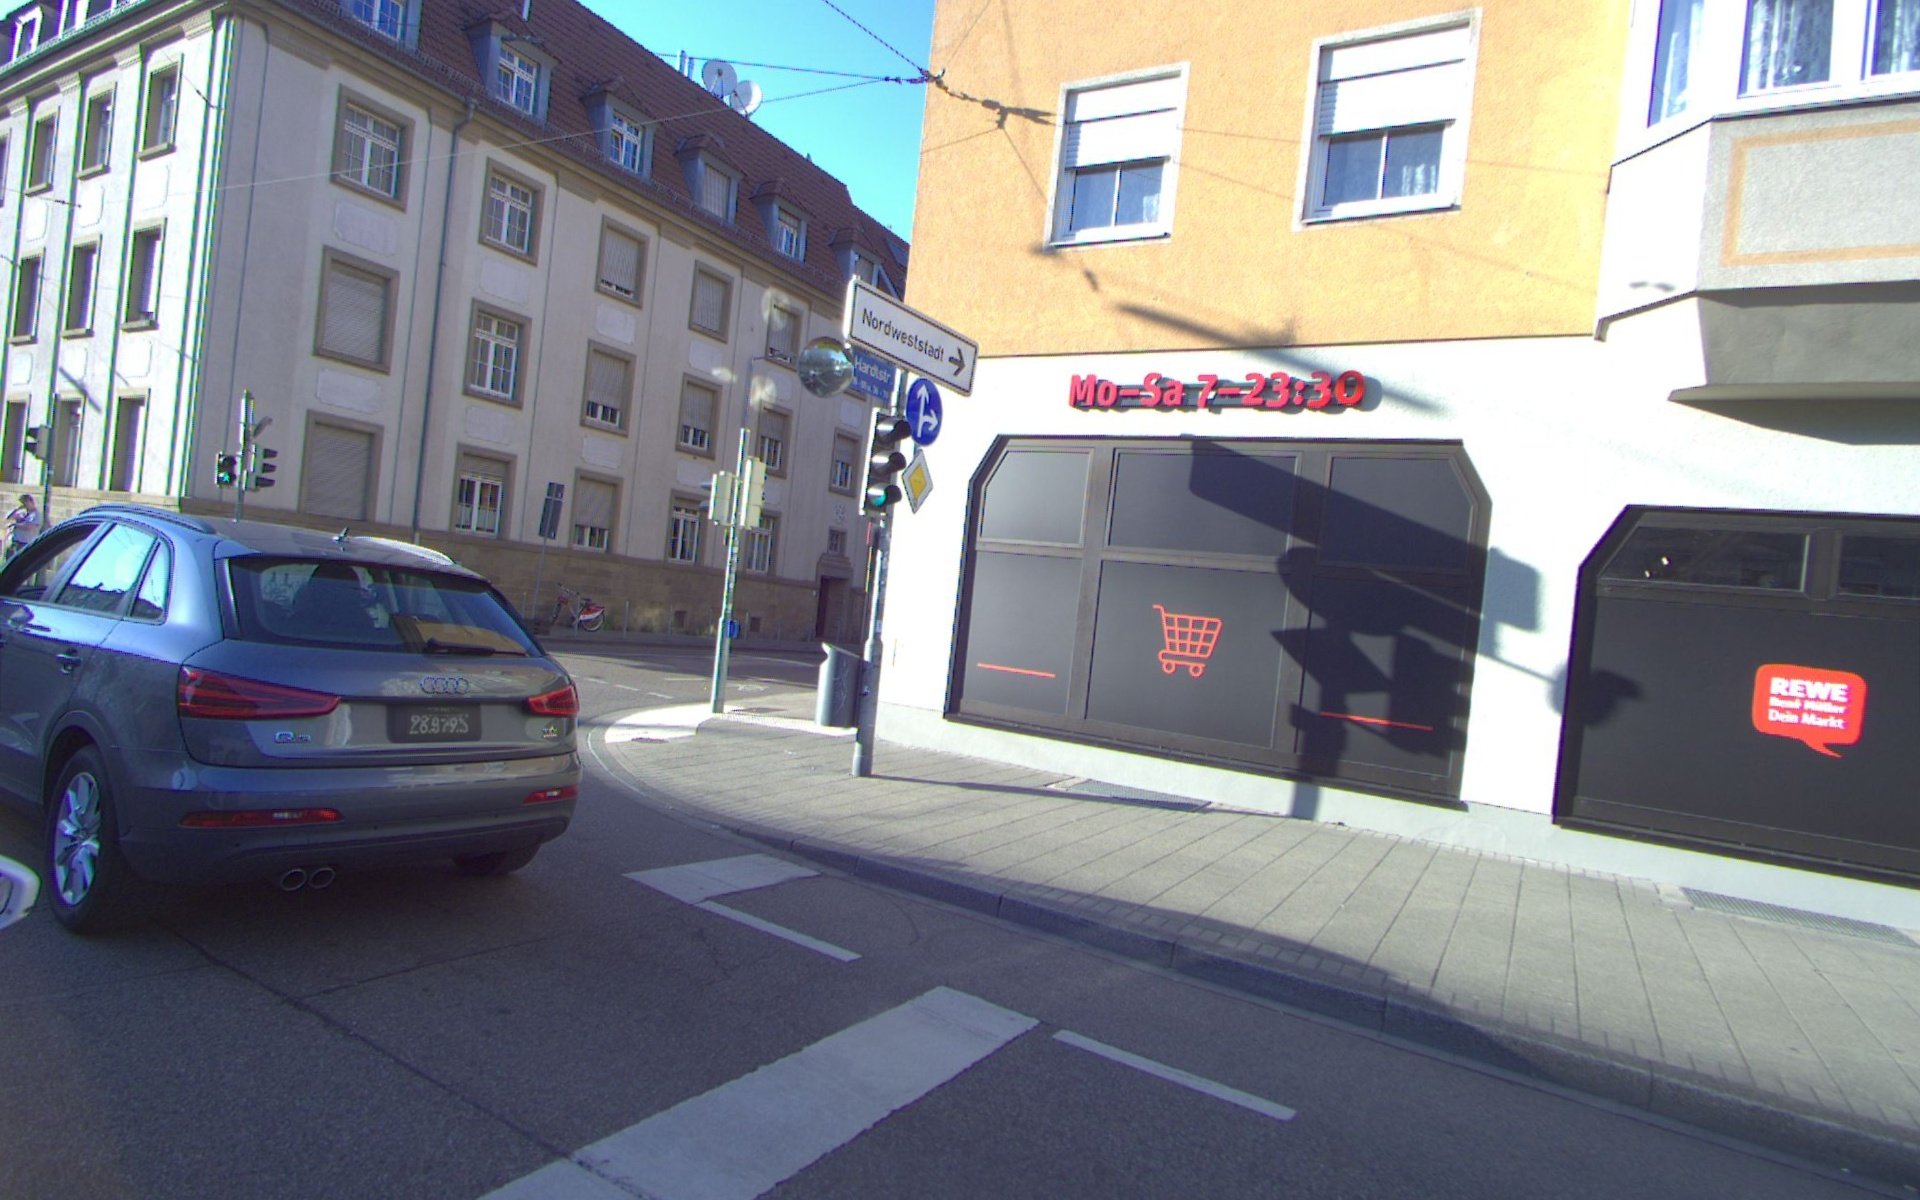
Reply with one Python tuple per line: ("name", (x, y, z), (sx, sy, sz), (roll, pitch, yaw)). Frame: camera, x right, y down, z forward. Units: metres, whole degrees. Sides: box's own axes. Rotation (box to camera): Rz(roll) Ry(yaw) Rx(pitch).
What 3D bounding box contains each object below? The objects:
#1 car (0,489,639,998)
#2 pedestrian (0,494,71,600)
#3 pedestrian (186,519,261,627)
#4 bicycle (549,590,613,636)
("car", (-3.744, 0.387, 5.023), (4.157, 1.570, 1.700), (5, -2, 33))
("pedestrian", (-17.024, -0.963, 18.362), (0.810, 1.783, 0.837), (5, -2, 31))
("pedestrian", (-12.809, -0.466, 17.491), (0.812, 1.778, 0.630), (5, -2, 31))
("bicycle", (-9.833, 0.346, 26.127), (1.498, 1.029, 0.247), (8, -2, -43))
